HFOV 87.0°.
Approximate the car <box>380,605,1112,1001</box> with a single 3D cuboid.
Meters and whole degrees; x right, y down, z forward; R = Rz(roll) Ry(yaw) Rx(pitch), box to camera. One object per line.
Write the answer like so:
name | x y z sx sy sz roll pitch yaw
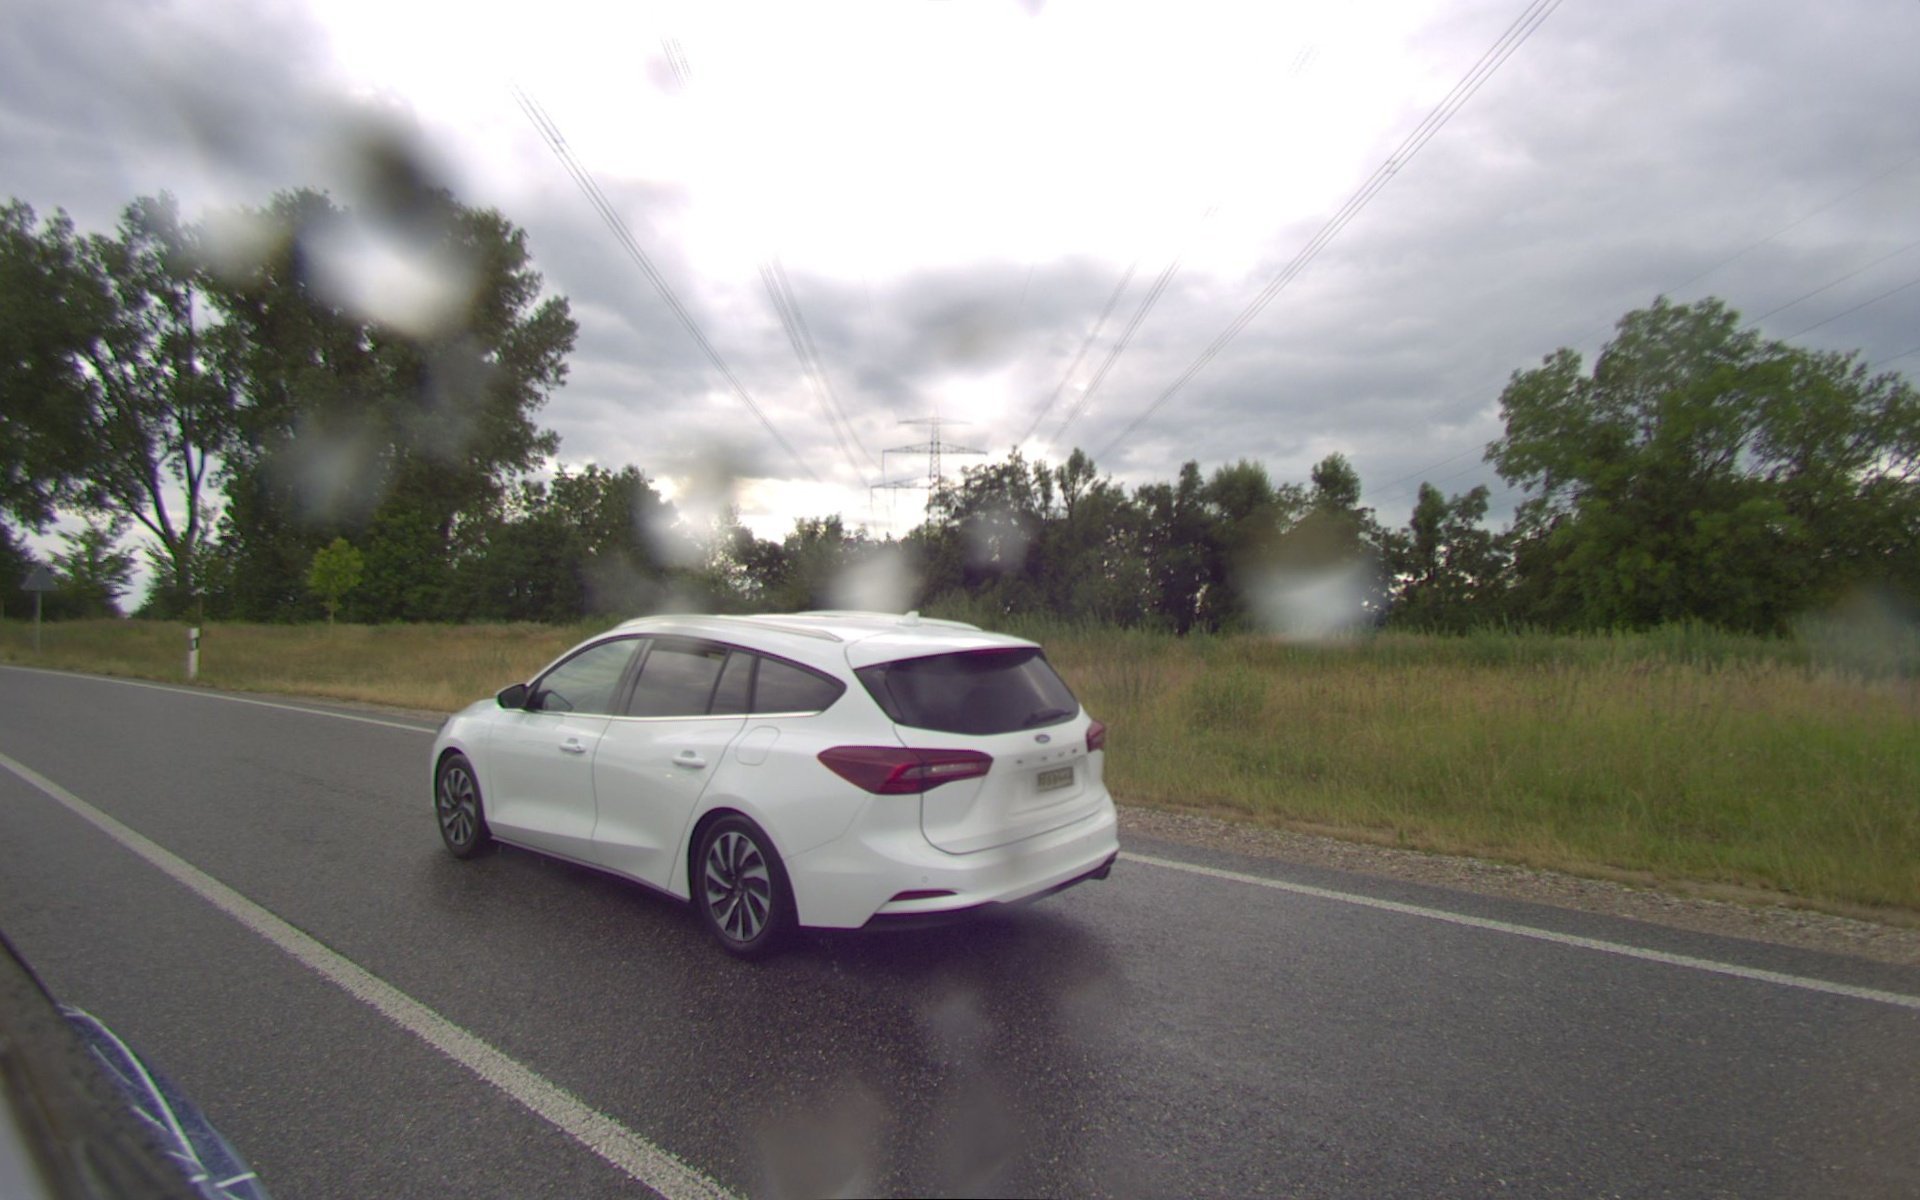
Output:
car | -1.459 0.743 5.731 4.284 1.398 1.826 0 0 40
